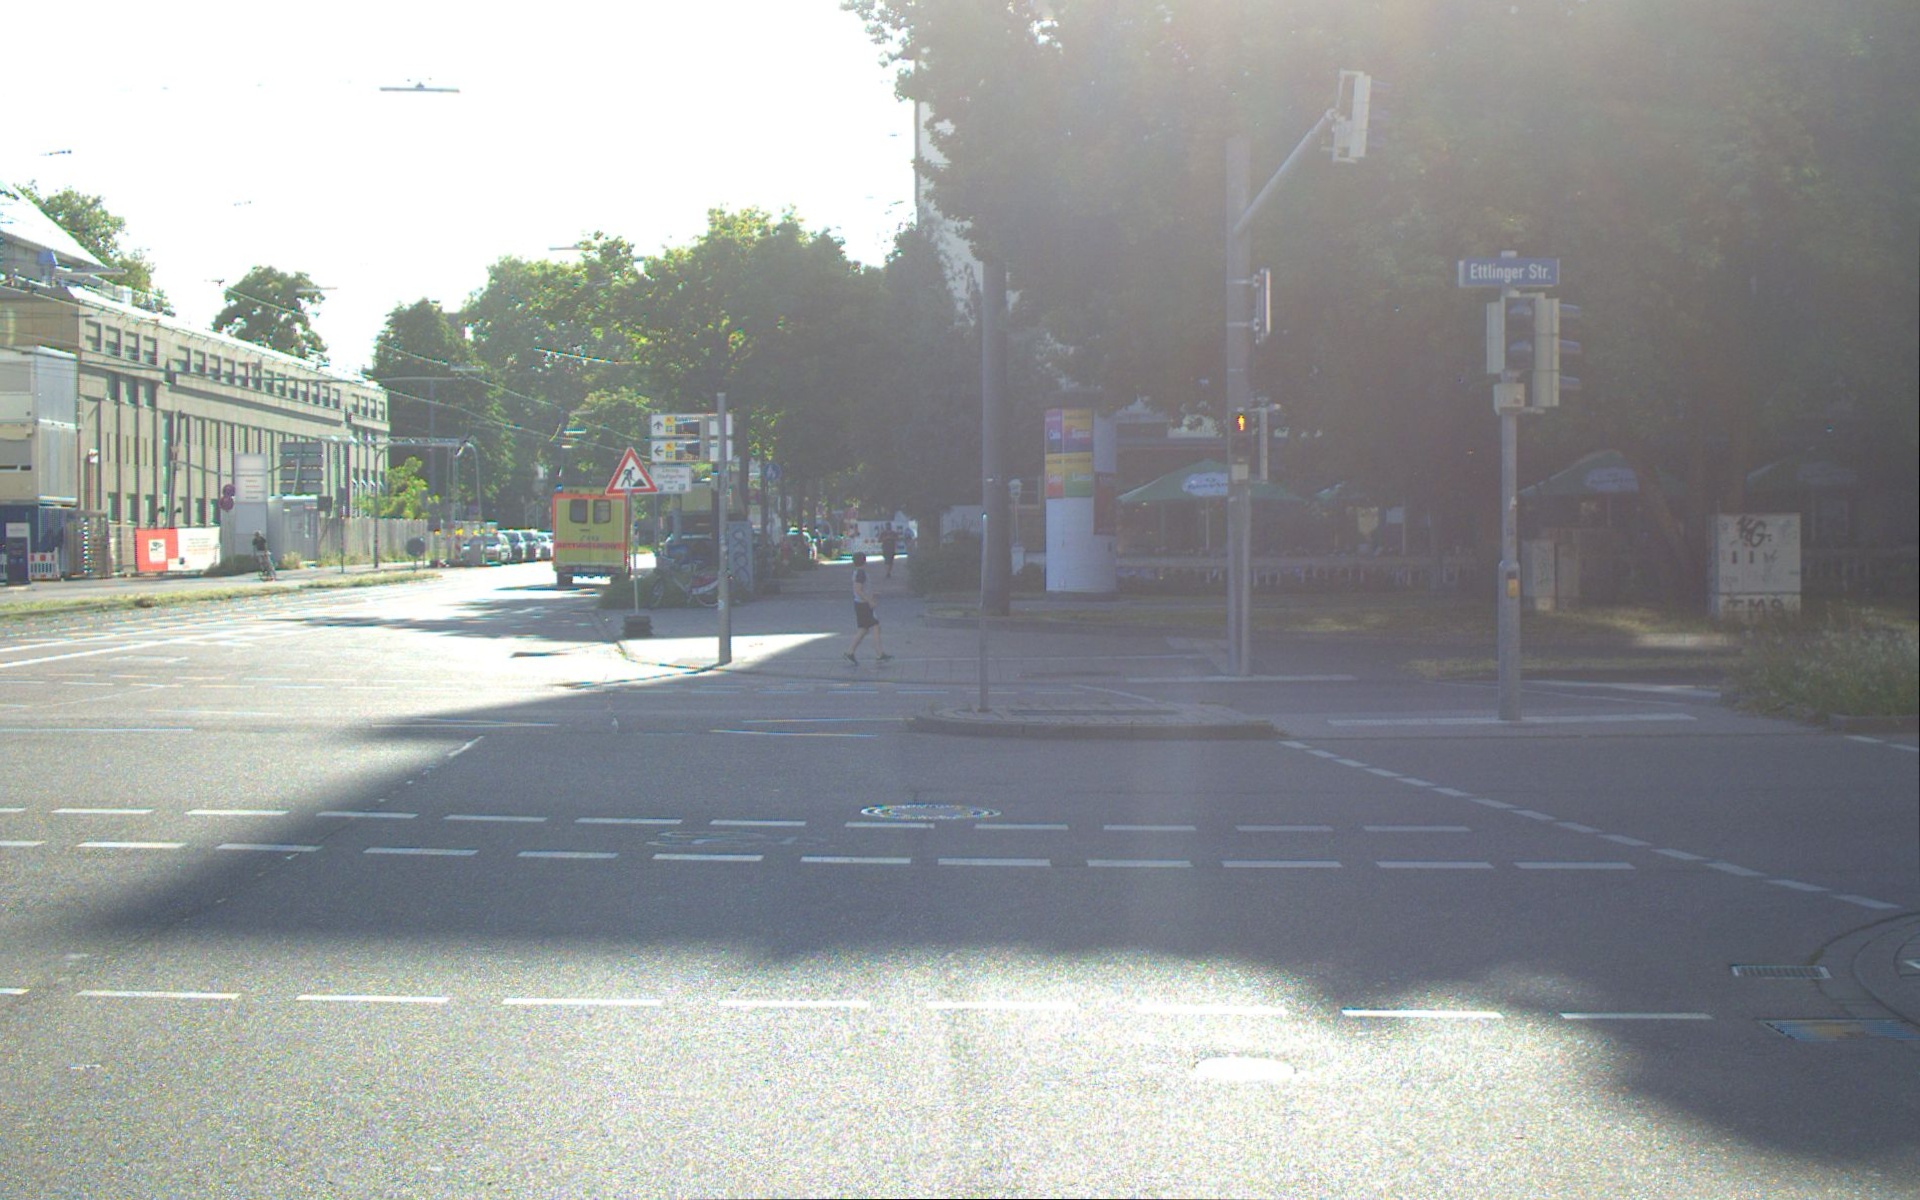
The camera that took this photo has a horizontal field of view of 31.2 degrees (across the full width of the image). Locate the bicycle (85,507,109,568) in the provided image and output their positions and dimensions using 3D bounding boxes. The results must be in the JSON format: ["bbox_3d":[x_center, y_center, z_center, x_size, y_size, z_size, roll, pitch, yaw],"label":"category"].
[{"bbox_3d":[-32.651,-2.357,130.147,0.571,2.288,1.422,0,1,-2],"label":"bicycle"}]

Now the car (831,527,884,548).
[{"bbox_3d":[-6.297,-3.842,211.209,3.217,1.259,1.373,1,0,-1],"label":"car"}]

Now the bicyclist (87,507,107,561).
[{"bbox_3d":[-32.654,-2.494,130.140,0.571,2.017,0.762,0,1,-2],"label":"bicyclist"}]

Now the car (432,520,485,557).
[{"bbox_3d":[-22.786,-2.797,156.368,1.894,1.601,4.501,-1,1,-2],"label":"car"}]

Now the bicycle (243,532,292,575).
[{"bbox_3d":[-24.576,-1.651,122.061,0.690,1.506,2.943,1,1,10],"label":"bicycle"}]

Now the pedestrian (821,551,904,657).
[{"bbox_3d":[-1.226,0.048,43.476,0.993,1.313,0.767,0,1,2],"label":"pedestrian"}]

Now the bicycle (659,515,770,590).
[{"bbox_3d":[-5.798,-1.129,81.370,2.547,1.737,1.037,1,0,0],"label":"bicycle"}]

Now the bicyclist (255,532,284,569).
[{"bbox_3d":[-24.527,-1.757,122.130,0.690,1.323,1.000,1,0,10],"label":"bicyclist"}]

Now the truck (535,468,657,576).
[{"bbox_3d":[-10.429,-2.231,99.123,2.716,3.005,6.489,0,1,1],"label":"truck"}]

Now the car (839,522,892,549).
[{"bbox_3d":[-5.862,-4.001,213.409,3.214,1.583,1.446,1,0,-4],"label":"car"}]
